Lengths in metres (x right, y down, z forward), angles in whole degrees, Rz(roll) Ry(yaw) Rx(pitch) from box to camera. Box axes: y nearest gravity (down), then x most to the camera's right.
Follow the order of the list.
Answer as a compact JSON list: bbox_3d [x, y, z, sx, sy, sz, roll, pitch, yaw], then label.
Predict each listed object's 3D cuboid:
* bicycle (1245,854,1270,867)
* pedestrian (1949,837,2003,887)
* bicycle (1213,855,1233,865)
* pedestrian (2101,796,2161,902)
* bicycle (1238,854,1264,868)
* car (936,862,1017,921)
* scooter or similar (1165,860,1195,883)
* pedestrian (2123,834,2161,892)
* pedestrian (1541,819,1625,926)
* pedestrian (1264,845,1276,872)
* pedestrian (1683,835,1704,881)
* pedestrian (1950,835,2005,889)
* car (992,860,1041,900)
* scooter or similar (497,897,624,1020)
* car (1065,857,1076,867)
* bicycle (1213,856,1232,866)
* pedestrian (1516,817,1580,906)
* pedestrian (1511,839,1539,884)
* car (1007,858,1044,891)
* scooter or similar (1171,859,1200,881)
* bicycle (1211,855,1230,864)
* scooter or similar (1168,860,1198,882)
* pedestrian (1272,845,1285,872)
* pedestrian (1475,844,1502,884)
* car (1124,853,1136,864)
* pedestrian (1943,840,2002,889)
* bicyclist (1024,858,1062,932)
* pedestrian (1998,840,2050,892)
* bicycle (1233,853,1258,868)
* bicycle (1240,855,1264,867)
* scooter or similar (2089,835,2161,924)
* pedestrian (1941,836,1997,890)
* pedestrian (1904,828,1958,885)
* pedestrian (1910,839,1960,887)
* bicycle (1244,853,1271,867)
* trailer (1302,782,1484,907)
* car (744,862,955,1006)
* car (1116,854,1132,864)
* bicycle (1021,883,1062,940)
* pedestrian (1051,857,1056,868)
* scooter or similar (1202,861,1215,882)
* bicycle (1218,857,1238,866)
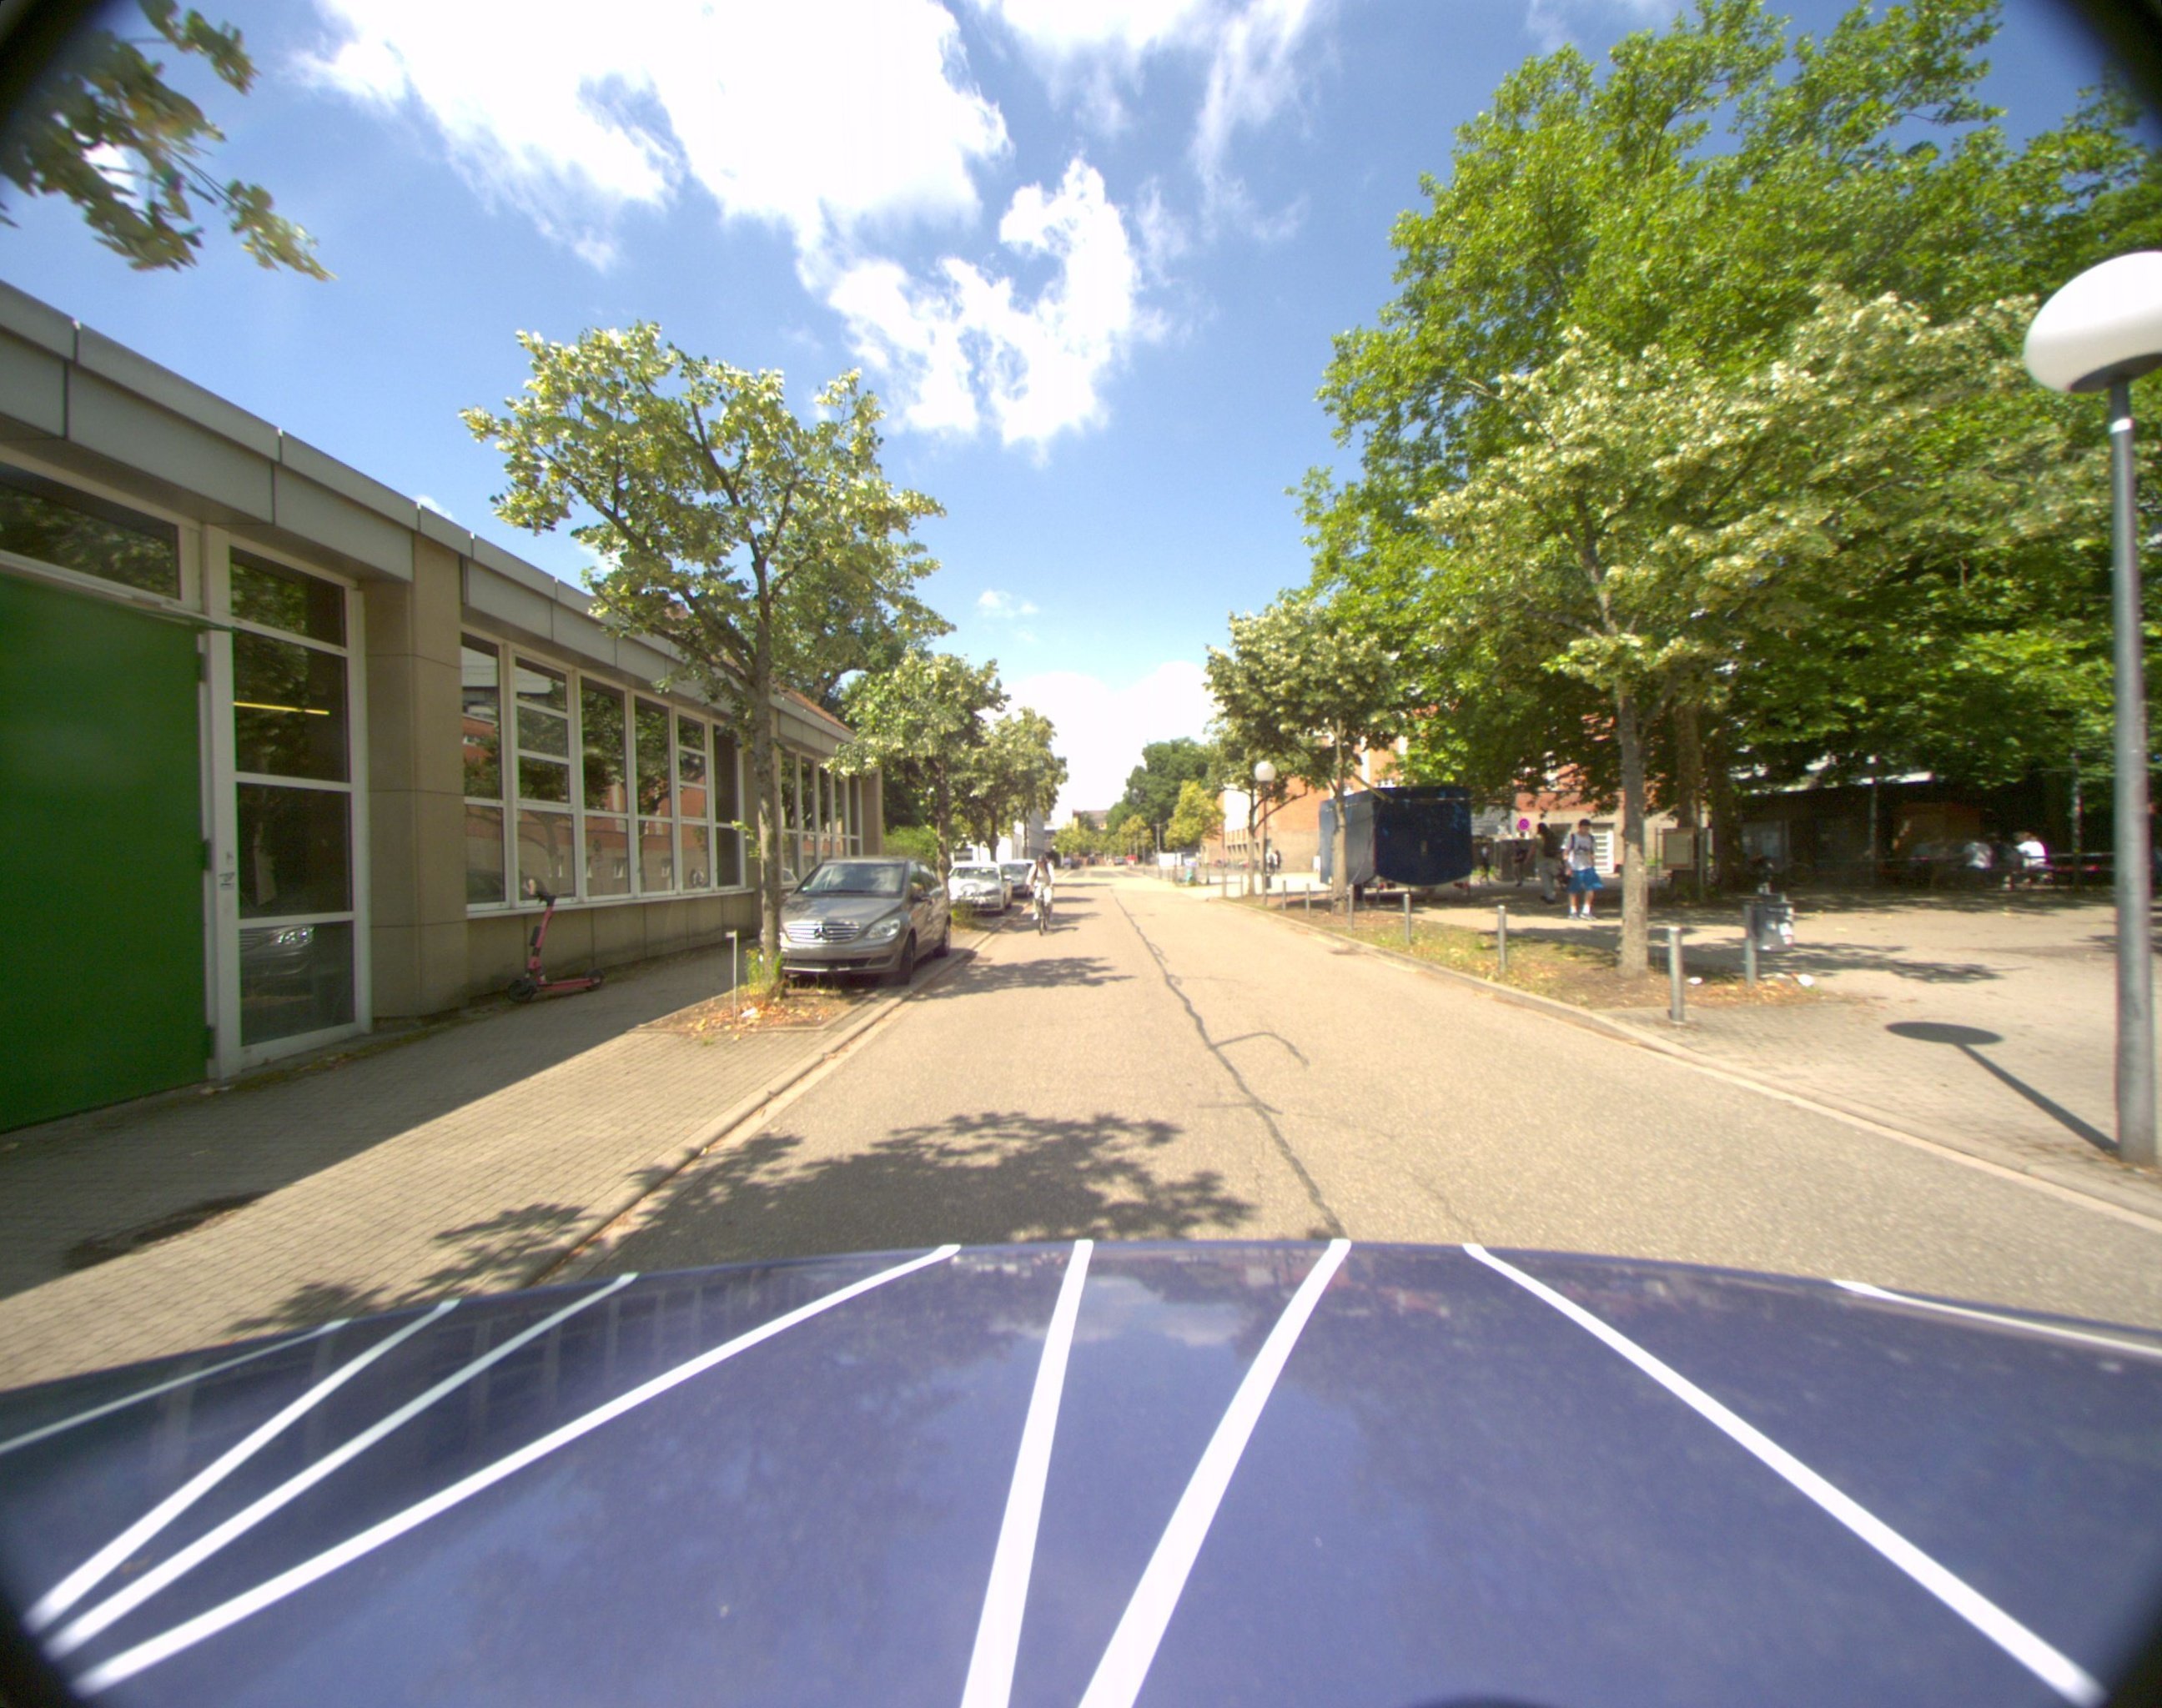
[{"bbox_3d":[15.441,0.583,66.535,2.015,1.076,0.622,-1,0,0],"label":"bicycle"},{"bbox_3d":[23.307,0.207,19.790,0.561,1.264,0.693,-2,0,1],"label":"pedestrian"},{"bbox_3d":[15.119,0.636,80.860,1.955,1.024,0.530,-1,0,0],"label":"bicycle"},{"bbox_3d":[19.082,-0.094,13.596,0.531,1.837,0.806,-2,0,1],"label":"pedestrian"},{"bbox_3d":[14.356,0.601,64.293,2.026,1.119,0.592,-1,0,2],"label":"bicycle"},{"bbox_3d":[-2.867,0.986,21.807,1.730,1.458,4.671,0,0,-1],"label":"car"},{"bbox_3d":[5.605,0.994,42.909,1.571,1.218,0.525,-1,1,28],"label":"scooter or similar"},{"bbox_3d":[23.674,0.198,16.669,0.570,1.243,0.766,-2,0,-11],"label":"pedestrian"},{"bbox_3d":[8.960,0.325,13.594,0.801,1.820,0.987,-2,0,1],"label":"pedestrian"},{"bbox_3d":[12.291,0.289,49.403,0.564,1.752,0.805,-2,1,0],"label":"pedestrian"},{"bbox_3d":[21.592,0.133,26.800,0.607,1.584,0.411,-3,0,-41],"label":"pedestrian"},{"bbox_3d":[21.455,0.195,18.190,0.596,1.226,0.741,-2,-1,-33],"label":"pedestrian"},{"bbox_3d":[-2.504,0.991,30.287,1.651,1.382,3.988,-2,0,-1],"label":"car"},{"bbox_3d":[-5.942,1.149,8.763,0.417,1.210,1.493,0,0,1],"label":"scooter or similar"},{"bbox_3d":[-1.483,1.145,110.012,1.552,1.377,3.453,-1,0,-1],"label":"car"},{"bbox_3d":[15.531,0.738,83.329,1.955,1.024,0.518,-1,0,0],"label":"bicycle"},{"bbox_3d":[10.816,0.167,17.643,0.919,1.943,0.892,-4,1,11],"label":"pedestrian"},{"bbox_3d":[16.693,0.288,28.574,0.632,1.656,0.643,-2,1,2],"label":"pedestrian"},{"bbox_3d":[-2.618,0.949,36.612,1.591,1.458,3.988,-1,0,-1],"label":"car"},{"bbox_3d":[6.093,0.931,44.431,1.571,1.218,0.571,-1,1,28],"label":"scooter or similar"},{"bbox_3d":[15.457,0.614,84.089,1.955,1.024,0.542,-1,0,0],"label":"bicycle"},{"bbox_3d":[5.825,0.955,43.568,1.571,1.218,0.566,-1,1,28],"label":"scooter or similar"},{"bbox_3d":[12.859,0.283,49.437,0.577,1.769,0.917,-2,1,0],"label":"pedestrian"},{"bbox_3d":[15.706,0.397,29.300,0.744,1.500,0.499,-2,1,2],"label":"pedestrian"},{"bbox_3d":[9.058,0.779,139.130,1.912,1.870,4.003,-2,-1,8],"label":"car"},{"bbox_3d":[24.336,0.284,20.752,0.689,1.315,0.778,-1,0,2],"label":"pedestrian"},{"bbox_3d":[-0.800,0.848,16.178,0.675,1.470,1.062,-1,2,3],"label":"bicyclist"},{"bbox_3d":[24.492,0.317,19.749,0.646,1.315,0.559,-1,0,2],"label":"pedestrian"},{"bbox_3d":[14.070,0.549,65.024,2.026,1.119,0.439,-3,0,5],"label":"bicycle"},{"bbox_3d":[15.348,0.601,68.299,2.027,1.055,0.663,-1,0,0],"label":"bicycle"},{"bbox_3d":[15.622,0.355,10.881,0.700,1.239,1.241,-2,0,1],"label":"scooter or similar"},{"bbox_3d":[20.907,0.216,17.888,0.596,1.226,0.741,-2,-1,-33],"label":"pedestrian"},{"bbox_3d":[20.906,0.071,18.690,0.596,1.361,0.741,-2,-1,-33],"label":"pedestrian"},{"bbox_3d":[23.336,0.242,20.763,0.561,1.264,0.693,-2,0,1],"label":"pedestrian"},{"bbox_3d":[14.462,0.498,62.354,2.027,1.119,0.667,-1,0,0],"label":"bicycle"},{"bbox_3d":[8.725,-0.238,22.171,2.703,3.009,6.266,-2,0,1],"label":"trailer"},{"bbox_3d":[-2.934,0.915,10.587,1.708,1.565,4.140,0,0,-1],"label":"car"},{"bbox_3d":[9.368,1.120,165.328,2.022,2.079,4.440,-2,-1,22],"label":"car"},{"bbox_3d":[-0.821,1.192,16.364,0.675,1.066,2.136,-1,0,2],"label":"bicycle"},{"bbox_3d":[-3.682,1.158,100.662,0.525,1.430,0.701,-1,0,4],"label":"pedestrian"},{"bbox_3d":[7.024,0.955,41.855,0.564,1.142,1.351,-1,1,13],"label":"scooter or similar"},{"bbox_3d":[15.313,0.758,79.185,1.955,0.935,0.569,-1,0,0],"label":"bicycle"}]
